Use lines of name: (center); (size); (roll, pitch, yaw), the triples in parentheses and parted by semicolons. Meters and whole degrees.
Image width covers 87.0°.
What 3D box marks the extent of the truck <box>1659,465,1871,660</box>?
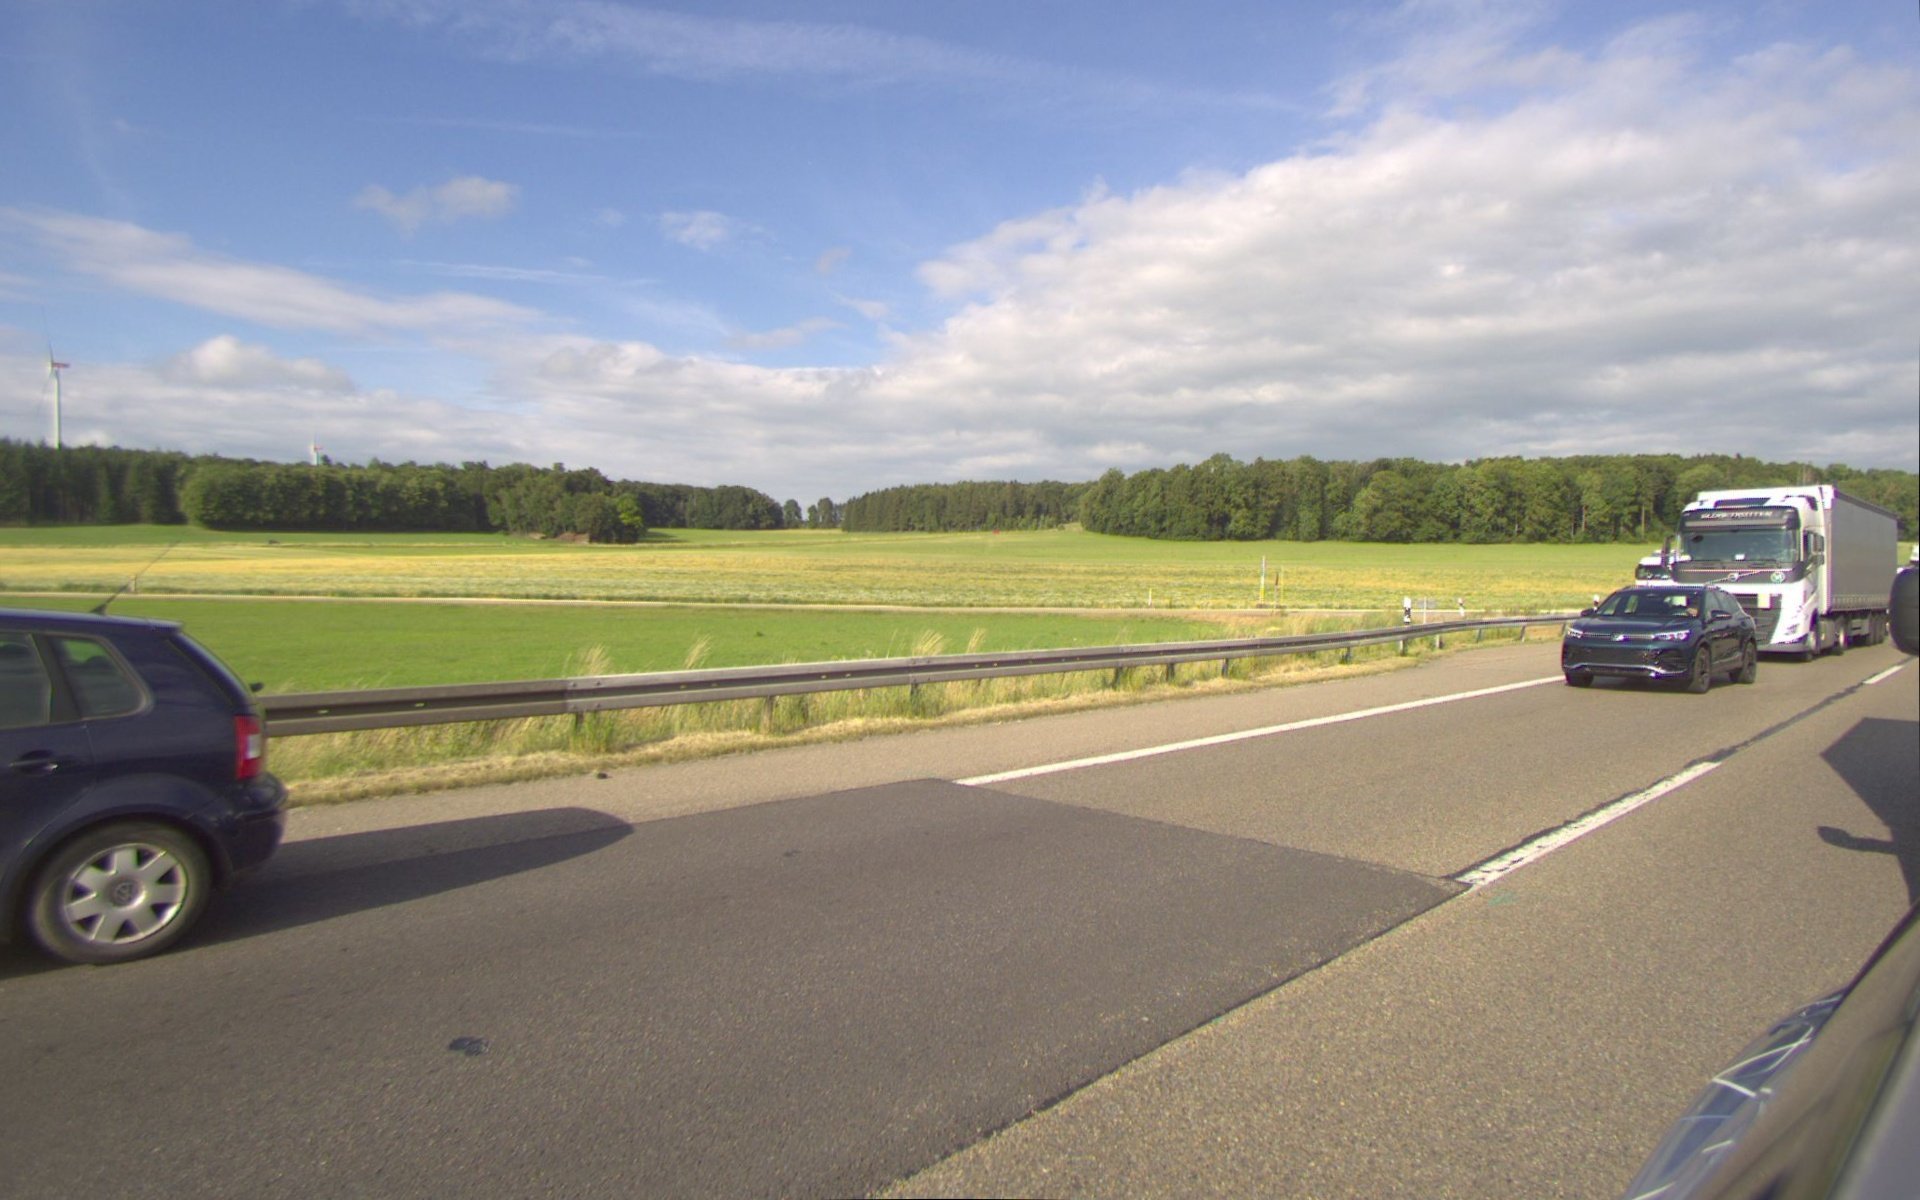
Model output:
truck: (19.311, -0.823, 24.144); (6.387, 4.040, 2.840); (-1, 0, -41)

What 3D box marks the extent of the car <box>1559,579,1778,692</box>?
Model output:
car: (11.598, 0.474, 16.474); (4.047, 1.616, 1.997); (-1, 1, -41)

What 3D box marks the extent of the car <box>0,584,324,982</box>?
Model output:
car: (-4.713, 0.680, 3.797); (3.710, 1.464, 1.712); (-1, 1, -43)

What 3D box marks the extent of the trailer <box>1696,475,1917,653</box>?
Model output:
trailer: (23.652, -0.885, 27.919); (11.916, 4.032, 2.824); (-1, 0, -41)
